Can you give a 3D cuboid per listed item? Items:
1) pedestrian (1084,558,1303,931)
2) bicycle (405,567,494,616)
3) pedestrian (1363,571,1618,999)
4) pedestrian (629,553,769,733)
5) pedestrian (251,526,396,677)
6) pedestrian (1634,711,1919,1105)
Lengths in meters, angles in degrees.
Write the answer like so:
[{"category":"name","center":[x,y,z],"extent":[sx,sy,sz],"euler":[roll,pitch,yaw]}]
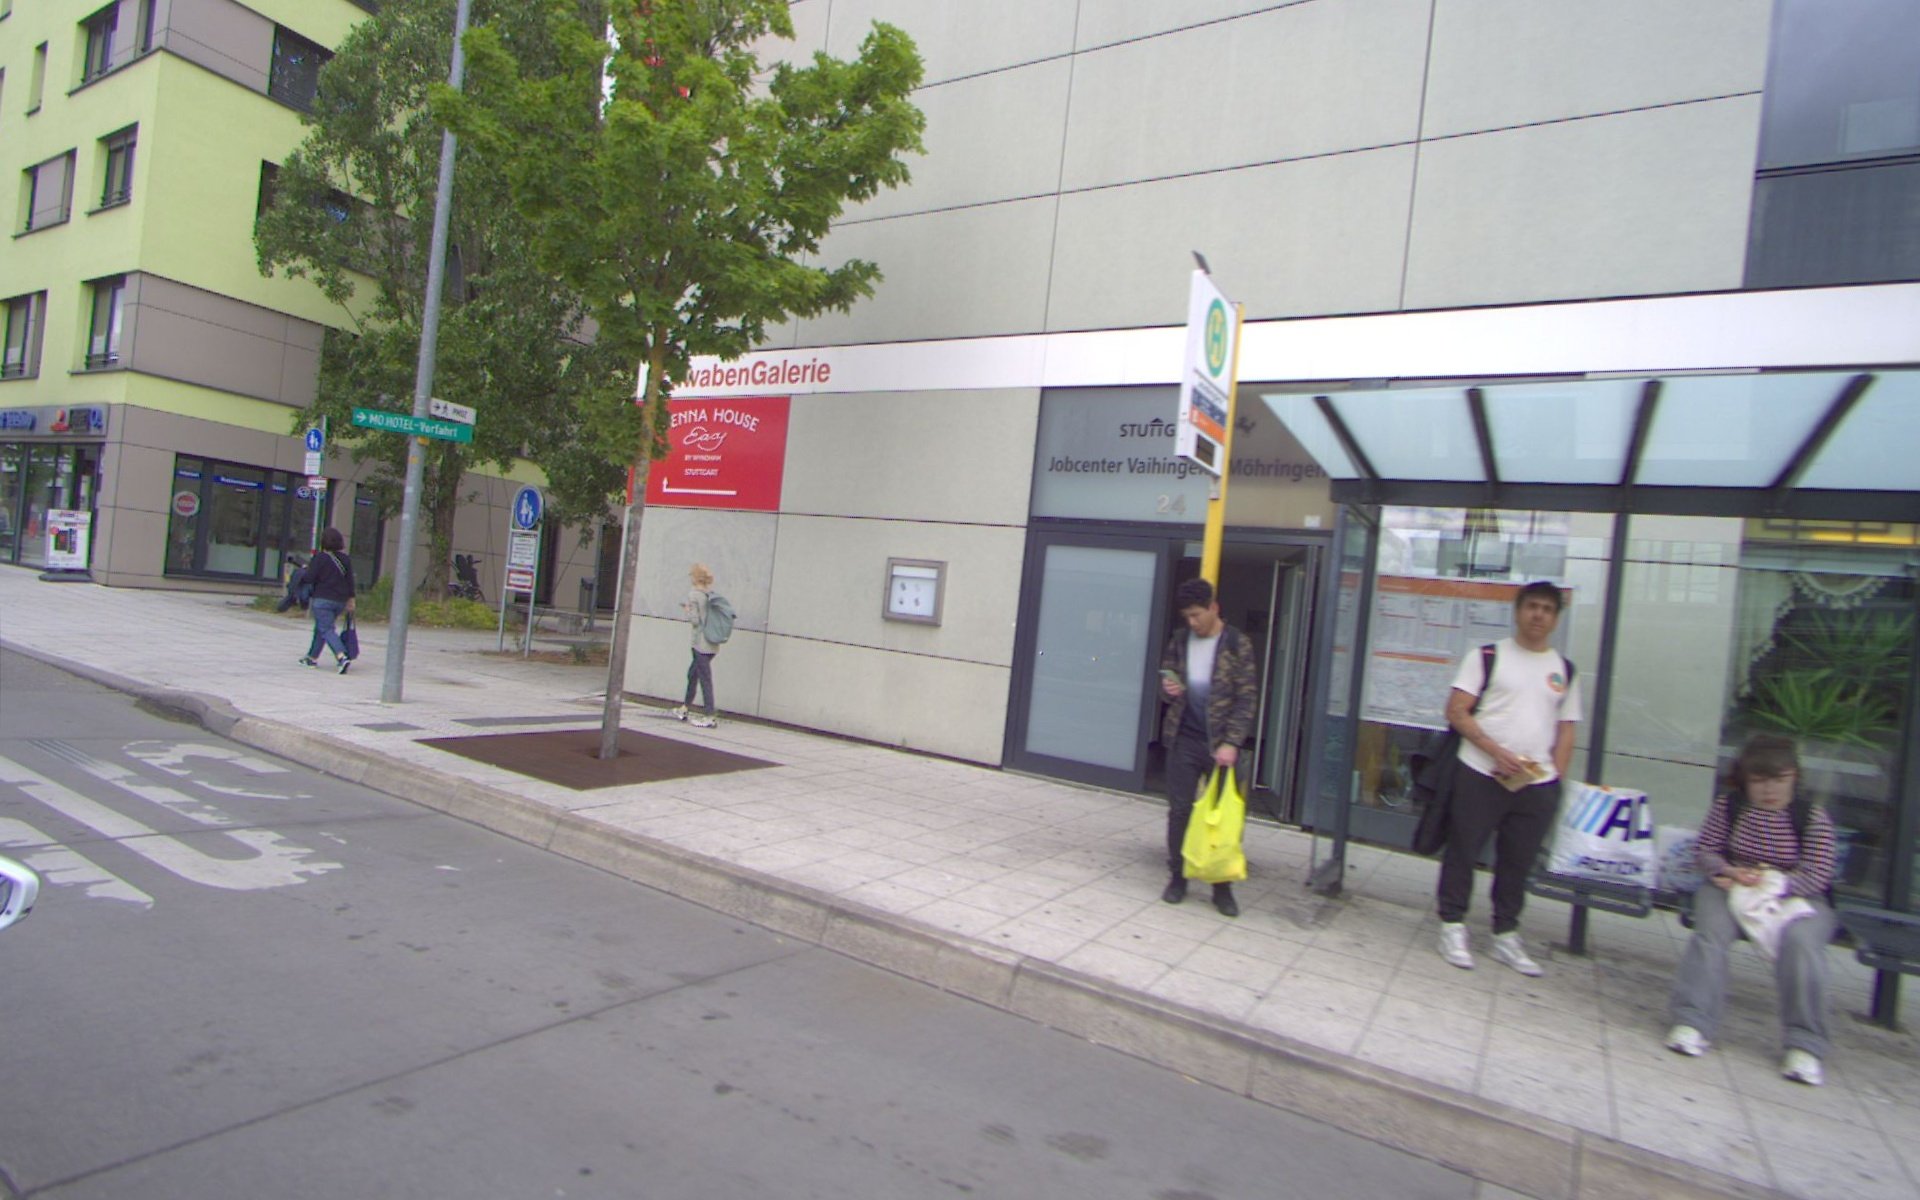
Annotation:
[{"category":"pedestrian","center":[1.206,0.689,5.177],"extent":[0.722,1.705,0.720],"euler":[6,1,37]},{"category":"bicycle","center":[-12.795,-0.189,25.253],"extent":[0.533,1.012,1.880],"euler":[6,-2,36]},{"category":"pedestrian","center":[2.517,0.804,4.780],"extent":[0.843,1.791,0.578],"euler":[6,1,37]},{"category":"pedestrian","center":[-2.517,0.416,9.742],"extent":[0.791,1.602,0.870],"euler":[6,0,31]},{"category":"pedestrian","center":[-7.323,0.027,11.596],"extent":[0.999,1.602,0.948],"euler":[6,0,31]},{"category":"pedestrian","center":[3.339,1.162,4.166],"extent":[0.720,1.275,0.944],"euler":[6,0,29]}]
